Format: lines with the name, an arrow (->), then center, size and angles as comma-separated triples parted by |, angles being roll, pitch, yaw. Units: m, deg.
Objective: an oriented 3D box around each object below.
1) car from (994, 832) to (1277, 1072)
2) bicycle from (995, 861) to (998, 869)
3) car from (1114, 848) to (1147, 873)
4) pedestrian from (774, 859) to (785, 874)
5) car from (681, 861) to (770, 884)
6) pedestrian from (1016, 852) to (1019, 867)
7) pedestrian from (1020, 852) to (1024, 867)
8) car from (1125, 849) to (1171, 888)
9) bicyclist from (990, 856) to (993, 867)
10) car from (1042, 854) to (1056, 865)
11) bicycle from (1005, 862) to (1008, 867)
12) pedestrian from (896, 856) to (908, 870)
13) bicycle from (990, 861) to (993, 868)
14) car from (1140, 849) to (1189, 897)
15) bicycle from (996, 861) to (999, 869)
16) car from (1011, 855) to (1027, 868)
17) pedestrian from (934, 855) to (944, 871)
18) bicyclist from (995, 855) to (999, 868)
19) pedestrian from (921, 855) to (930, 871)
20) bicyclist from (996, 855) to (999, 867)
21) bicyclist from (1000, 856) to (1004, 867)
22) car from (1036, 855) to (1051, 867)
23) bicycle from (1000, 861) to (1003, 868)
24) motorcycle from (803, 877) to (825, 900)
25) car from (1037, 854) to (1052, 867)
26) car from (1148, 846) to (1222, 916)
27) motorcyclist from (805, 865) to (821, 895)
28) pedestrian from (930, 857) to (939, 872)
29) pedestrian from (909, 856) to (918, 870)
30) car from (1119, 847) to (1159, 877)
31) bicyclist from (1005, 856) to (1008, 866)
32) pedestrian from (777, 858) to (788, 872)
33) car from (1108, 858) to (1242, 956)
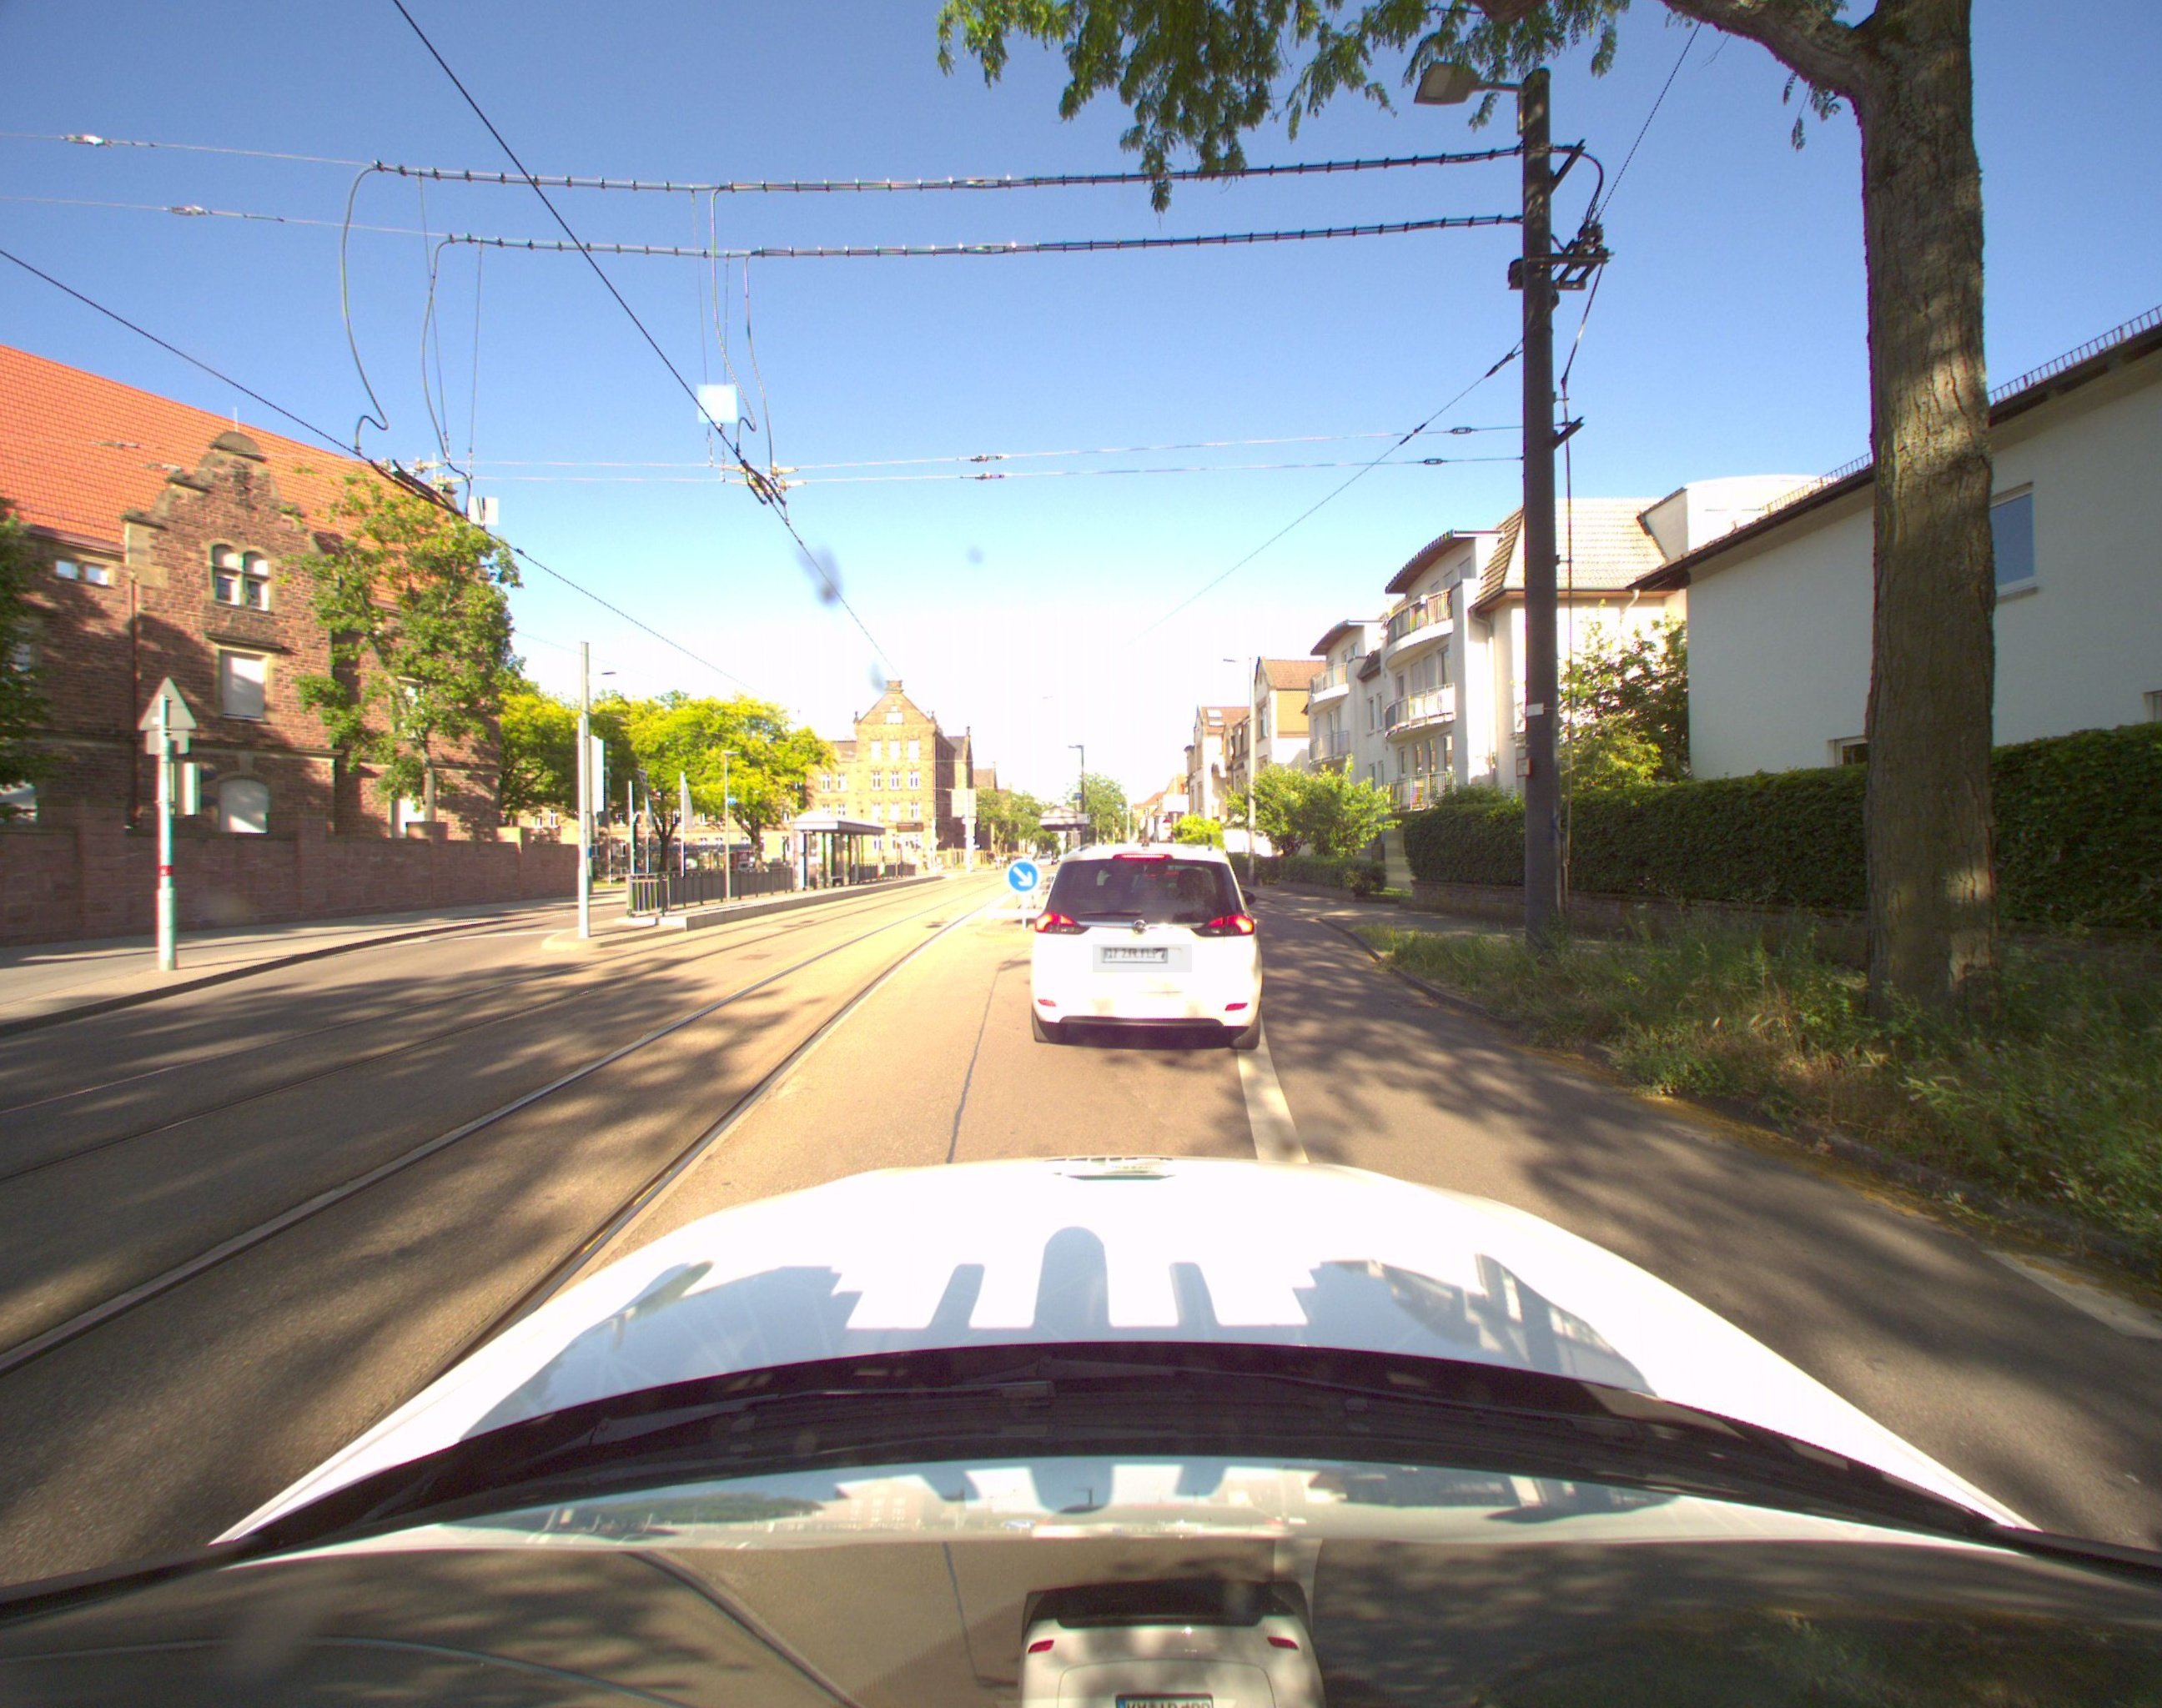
car -> 0.652, 0.686, 7.698 | 1.982, 1.644, 4.003 | 0, 0, 8
bicycle -> -10.714, 1.414, 103.517 | 0.343, 0.950, 1.160 | 0, -1, -1
car -> 3.106, 0.385, 51.838 | 1.986, 1.503, 4.002 | -1, 0, 2
pedestrian -> -32.939, 1.323, 88.902 | 0.931, 1.588, 0.802 | 0, 0, -10
car -> -32.957, 1.701, 75.692 | 6.927, 1.921, 2.992 | -1, 0, 0
pedestrian -> -8.770, 0.773, 112.331 | 0.443, 2.013, 0.495 | -1, 0, -2
pedestrian -> -8.137, 0.771, 112.649 | 0.443, 2.013, 0.495 | -1, 0, -2
car -> 2.936, 0.612, 36.245 | 1.824, 1.579, 4.012 | -1, 0, 2
bicyclist -> -12.685, 1.058, 115.596 | 0.443, 1.553, 0.495 | -1, 0, -2
car -> -5.132, 0.906, 130.985 | 1.987, 1.629, 4.000 | -1, 0, 0
bicycle -> -10.206, 1.463, 112.096 | 0.343, 0.725, 0.996 | 0, -1, -1
pedestrian -> -19.760, 0.990, 89.933 | 0.794, 1.588, 0.940 | -1, -1, 39
bicycle -> -12.678, 1.526, 115.630 | 0.343, 0.950, 0.996 | 0, -1, -1
car -> 2.950, 0.636, 29.315 | 1.630, 1.601, 3.859 | -1, 0, 4
bicycle -> -11.003, 1.445, 107.059 | 0.343, 0.950, 0.996 | 0, -1, -1
car -> -8.191, 0.923, 107.474 | 1.989, 1.629, 3.996 | -1, 0, -3
pedestrian -> -15.609, 0.977, 89.513 | 0.892, 1.684, 1.029 | 0, -1, 1
bicyclist -> -10.706, 0.948, 103.727 | 0.443, 1.553, 0.742 | -1, 0, -2
pedestrian -> -17.016, 0.992, 89.133 | 0.839, 1.691, 1.029 | 0, -1, 1
bicyclist -> -10.979, 0.977, 107.018 | 0.443, 1.553, 0.495 | -1, 0, -2
bicyclist -> -10.662, 0.996, 109.597 | 0.443, 1.553, 0.495 | -1, 0, -2
car -> -5.297, 0.952, 114.738 | 1.989, 1.629, 3.996 | -1, 0, -3
bicycle -> -10.661, 1.463, 109.602 | 0.343, 0.950, 0.996 | 0, -1, -1
motorcycle -> -14.711, 1.894, 44.889 | 0.610, 1.198, 2.073 | -1, 0, -3
car -> -4.815, 0.891, 107.616 | 1.989, 1.629, 3.996 | -1, 0, -3
car -> 2.580, 0.639, 20.889 | 1.630, 1.601, 3.859 | -1, 0, 4
motorcyclist -> -14.707, 1.410, 44.735 | 0.612, 1.621, 0.844 | -1, 0, -3
pedestrian -> -17.225, 1.209, 95.959 | 0.728, 1.714, 0.710 | -1, -1, 24
pedestrian -> -18.405, 0.975, 89.349 | 0.799, 1.588, 0.934 | 0, -1, -1
car -> 3.132, 0.415, 44.371 | 1.986, 1.503, 4.002 | -1, 0, 2
bicyclist -> -10.214, 0.998, 112.095 | 0.358, 1.303, 0.397 | -1, 0, -2
pedestrian -> -32.723, 1.203, 89.218 | 0.930, 1.588, 0.803 | -1, 0, -5
car -> 1.539, 0.793, 14.060 | 1.944, 1.397, 4.005 | -1, 0, 4
